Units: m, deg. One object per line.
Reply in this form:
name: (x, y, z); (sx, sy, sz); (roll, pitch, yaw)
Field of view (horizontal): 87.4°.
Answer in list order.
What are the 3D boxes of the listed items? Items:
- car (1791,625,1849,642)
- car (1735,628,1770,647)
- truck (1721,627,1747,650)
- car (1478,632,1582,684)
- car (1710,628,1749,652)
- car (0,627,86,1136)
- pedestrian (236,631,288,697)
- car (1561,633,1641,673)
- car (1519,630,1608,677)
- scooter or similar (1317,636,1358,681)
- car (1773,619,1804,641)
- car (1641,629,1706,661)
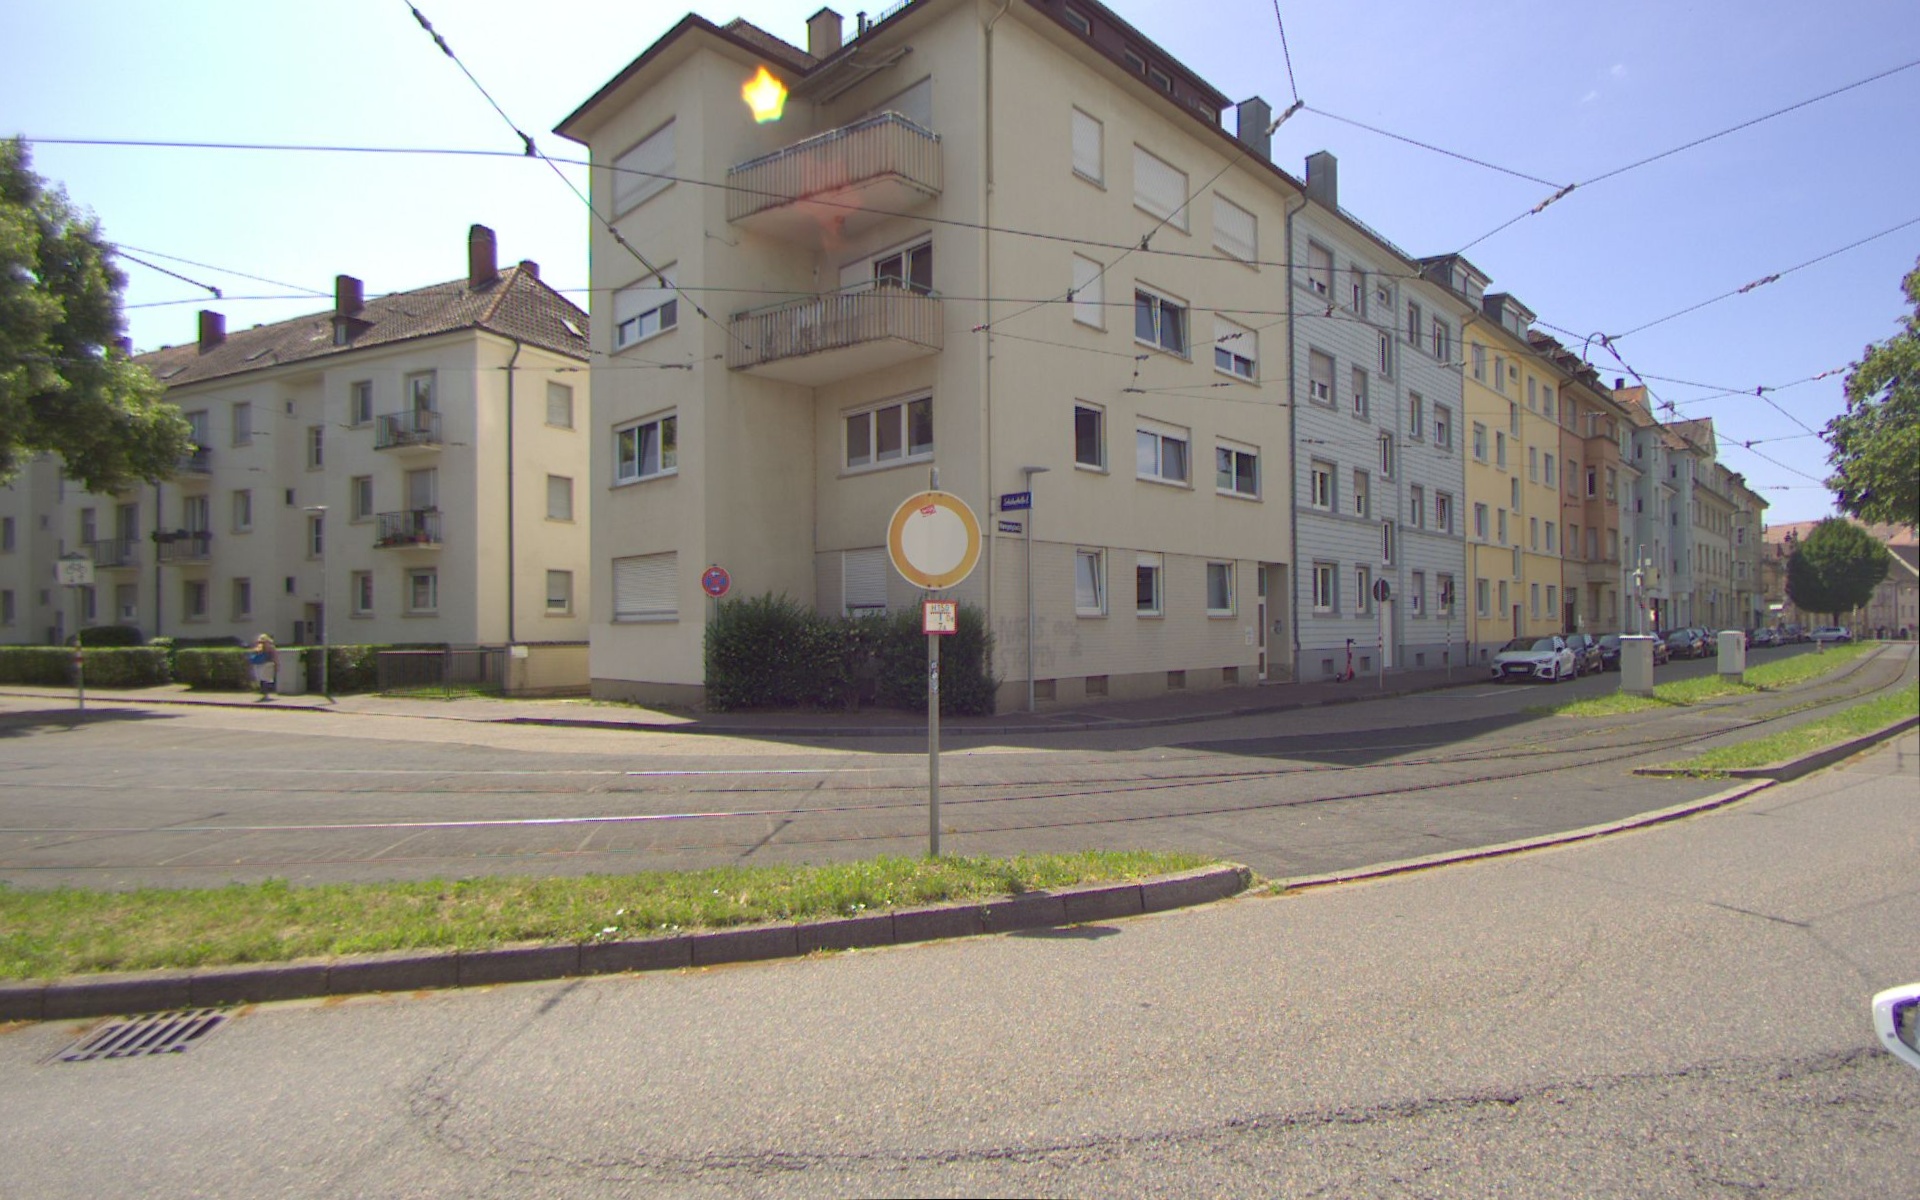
car: (82.623, 3.228, 96.519); (4.155, 1.524, 1.994); (-3, -3, 41)
car: (60.232, 2.814, 76.312); (1.669, 1.378, 3.834); (-4, -3, 44)
truck: (52.755, 2.602, 68.449); (1.114, 1.514, 2.579); (-3, -3, 43)
car: (18.112, 1.817, 31.817); (1.907, 1.470, 4.352); (-4, -4, 42)
car: (49.947, 2.574, 65.193); (1.555, 1.470, 3.603); (-3, -3, 44)
car: (-4.406, 0.766, 1.901); (3.687, 1.483, 1.773); (1, -2, -17)
pedestrian: (-17.081, 1.556, 24.594); (0.730, 1.580, 0.777); (-1, -1, 23)
car: (25.067, 2.038, 39.256); (1.812, 1.418, 4.116); (-3, -3, 44)
car: (21.624, 1.874, 35.938); (1.907, 1.524, 4.302); (-3, -3, 42)
scooter or similar: (10.857, 1.664, 28.894); (0.631, 1.239, 1.312); (0, 0, 44)
car: (77.280, 2.769, 93.702); (1.834, 1.936, 4.742); (-3, -3, 44)
car: (35.694, 2.229, 50.171); (1.908, 1.510, 4.833); (-4, -3, 44)
